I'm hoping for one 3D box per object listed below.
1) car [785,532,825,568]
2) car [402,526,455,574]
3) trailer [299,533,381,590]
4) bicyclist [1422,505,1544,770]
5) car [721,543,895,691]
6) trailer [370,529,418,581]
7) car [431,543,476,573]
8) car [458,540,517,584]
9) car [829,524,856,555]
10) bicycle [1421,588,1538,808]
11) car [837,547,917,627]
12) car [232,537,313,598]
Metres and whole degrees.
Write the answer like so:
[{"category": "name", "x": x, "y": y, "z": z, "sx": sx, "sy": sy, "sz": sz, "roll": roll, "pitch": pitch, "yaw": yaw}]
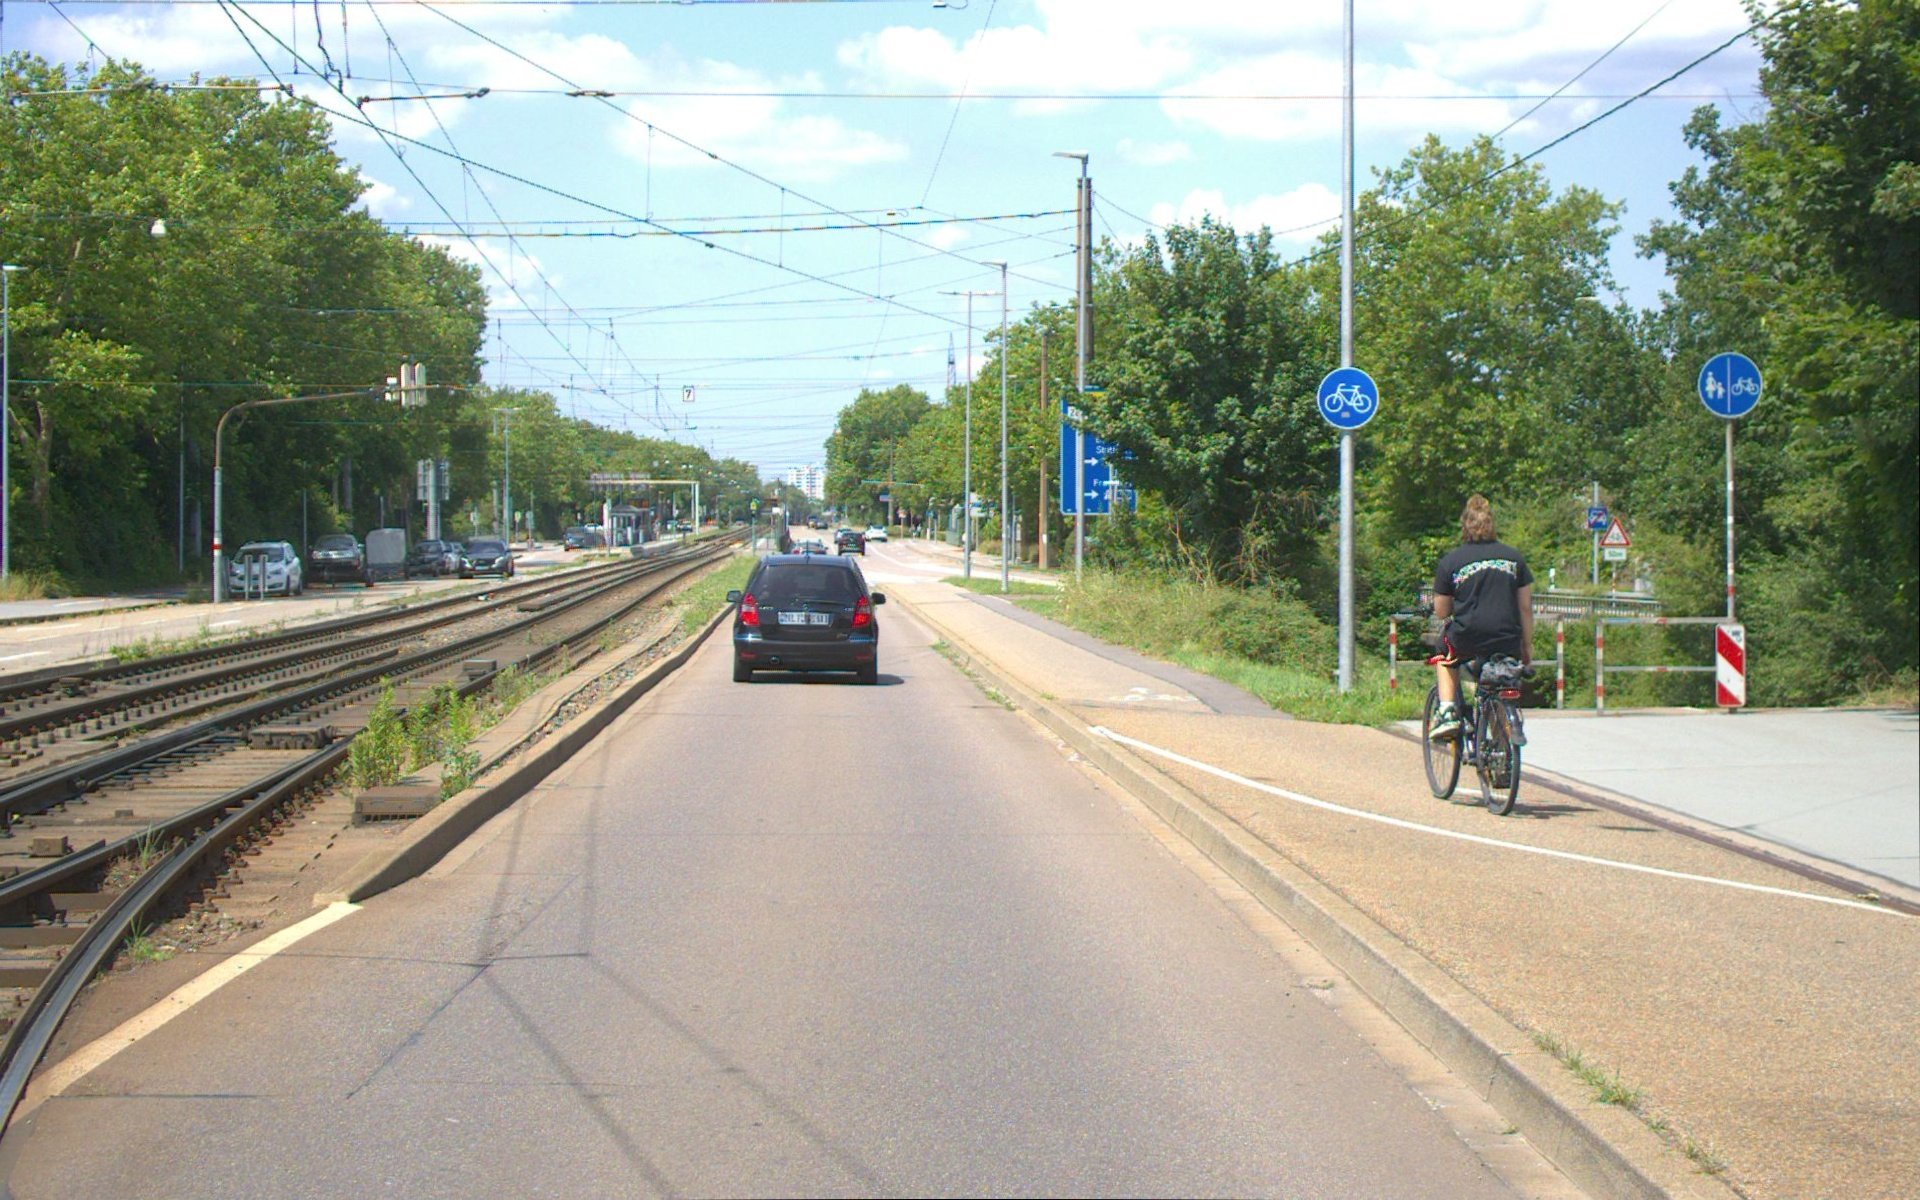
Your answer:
[{"category": "car", "x": -7.999, "y": -2.605, "z": 177.729, "sx": 1.884, "sy": 1.634, "sz": 4.001, "roll": 4, "pitch": 2, "yaw": -2}, {"category": "car", "x": -23.954, "y": -2.272, "z": 155.028, "sx": 1.854, "sy": 2.006, "sz": 4.001, "roll": 2, "pitch": 2, "yaw": -2}, {"category": "trailer", "x": -21.602, "y": -1.365, "z": 120.019, "sx": 2.461, "sy": 1.882, "sz": 5.963, "roll": 1, "pitch": 1, "yaw": -7}, {"category": "bicyclist", "x": 3.027, "y": 0.207, "z": 19.929, "sx": 0.585, "sy": 1.489, "sz": 0.558, "roll": 2, "pitch": 2, "yaw": 2}, {"category": "car", "x": -1.842, "y": 0.165, "z": 42.774, "sx": 1.853, "sy": 1.564, "sz": 4.388, "roll": 2, "pitch": 3, "yaw": 1}, {"category": "trailer", "x": -23.115, "y": -1.864, "z": 140.422, "sx": 1.609, "sy": 2.007, "sz": 3.917, "roll": 2, "pitch": 1, "yaw": -5}, {"category": "car", "x": -24.602, "y": -2.046, "z": 167.162, "sx": 1.870, "sy": 1.396, "sz": 4.419, "roll": 1, "pitch": 1, "yaw": -5}, {"category": "car", "x": -18.869, "y": -1.533, "z": 137.470, "sx": 1.875, "sy": 1.714, "sz": 5.331, "roll": 1, "pitch": 1, "yaw": -3}, {"category": "car", "x": -8.206, "y": -4.196, "z": 239.351, "sx": 1.786, "sy": 2.006, "sz": 4.001, "roll": 2, "pitch": 2, "yaw": -2}, {"category": "bicycle", "x": 3.011, "y": 0.540, "z": 20.022, "sx": 0.432, "sy": 1.148, "sz": 1.855, "roll": 2, "pitch": 2, "yaw": 2}, {"category": "car", "x": -2.243, "y": -0.377, "z": 93.952, "sx": 1.993, "sy": 2.006, "sz": 4.000, "roll": 2, "pitch": 2, "yaw": 1}, {"category": "car", "x": -20.867, "y": -1.005, "z": 104.481, "sx": 1.719, "sy": 1.625, "sz": 4.617, "roll": -2, "pitch": 3, "yaw": -4}]
